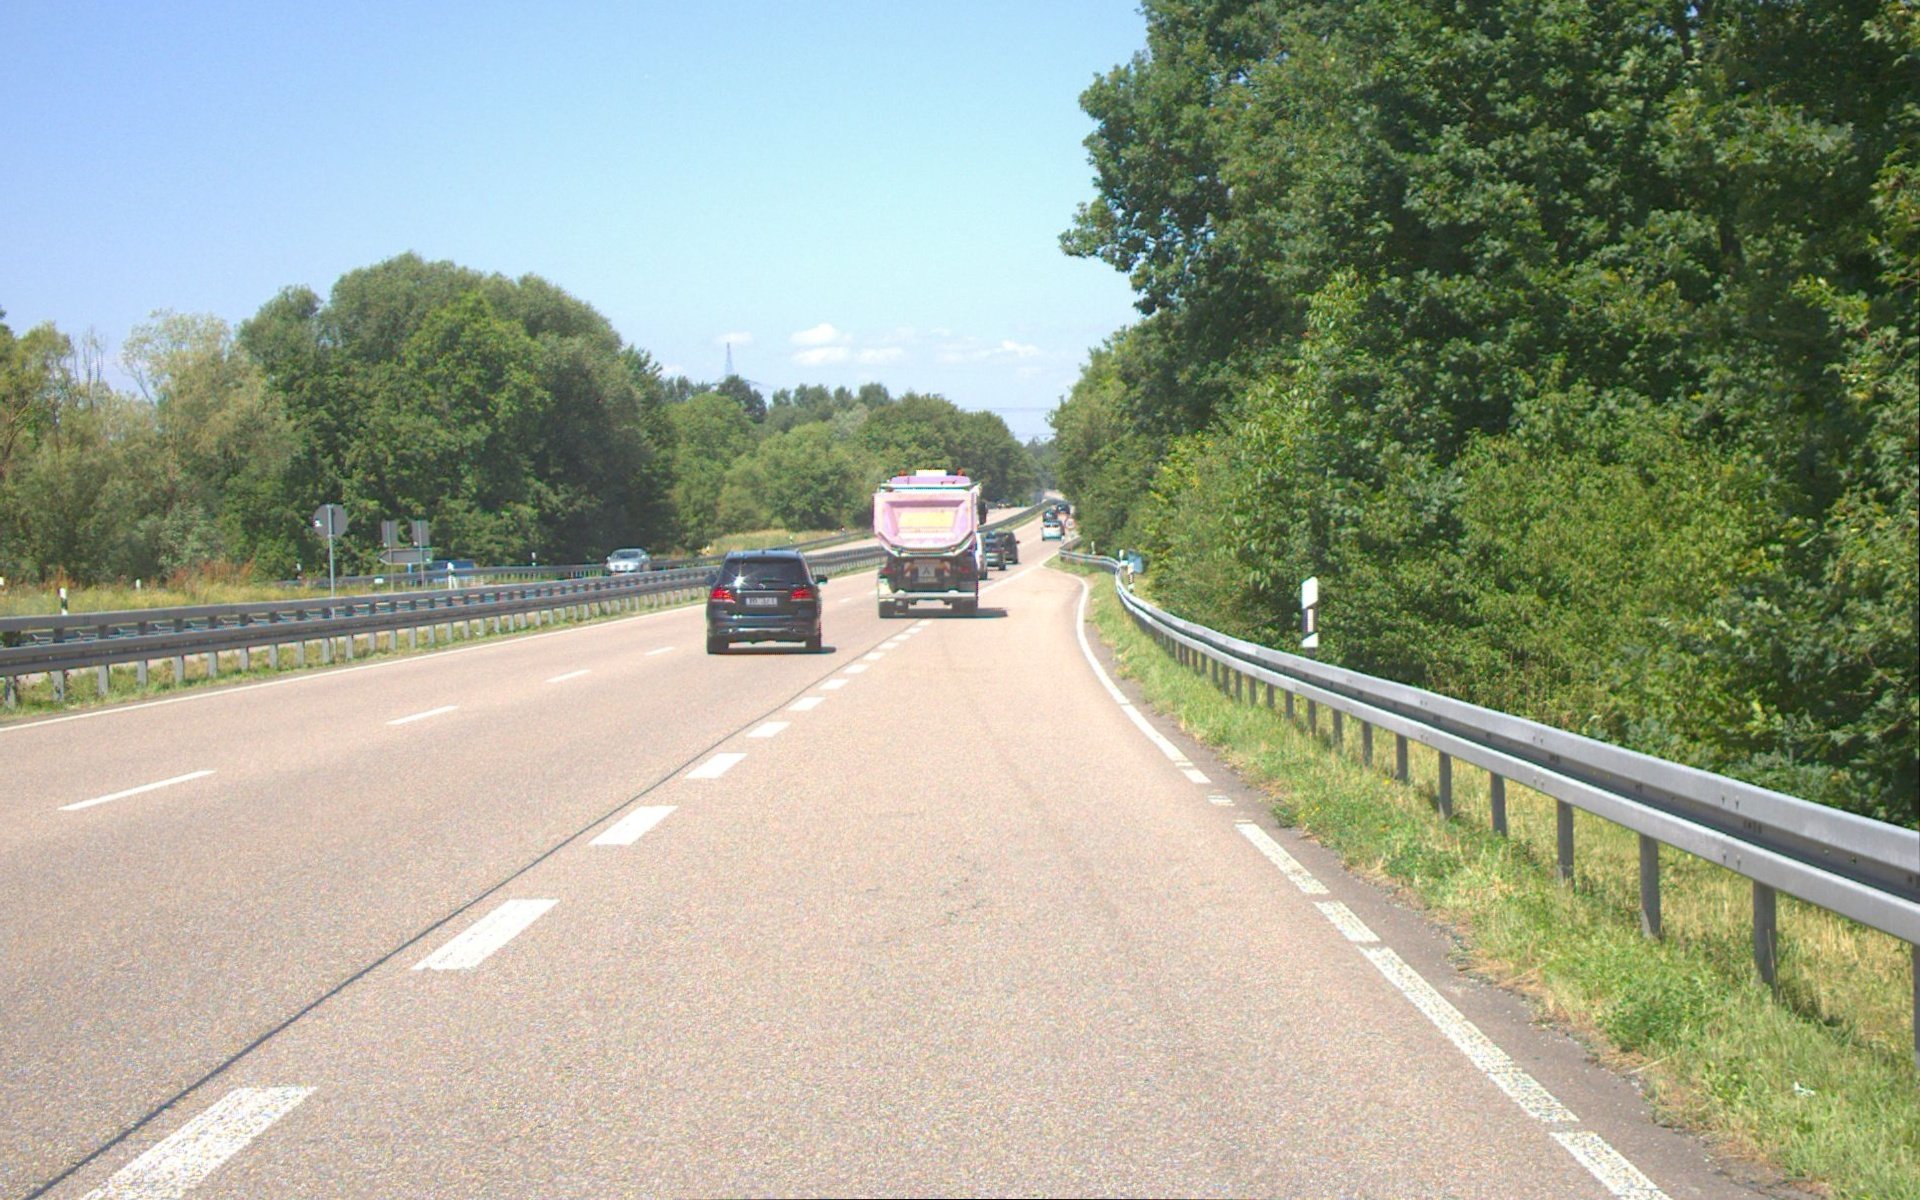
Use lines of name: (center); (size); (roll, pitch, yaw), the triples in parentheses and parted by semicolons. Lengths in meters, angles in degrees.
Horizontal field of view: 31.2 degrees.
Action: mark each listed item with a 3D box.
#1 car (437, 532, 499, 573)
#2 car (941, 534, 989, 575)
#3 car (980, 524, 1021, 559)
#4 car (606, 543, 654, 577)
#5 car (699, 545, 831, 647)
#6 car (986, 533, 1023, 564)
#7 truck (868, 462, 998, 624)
car: (-18.146, -1.738, 126.846); (1.918, 1.484, 4.000); (0, 0, -3)
car: (0.229, -1.925, 145.778); (1.857, 1.665, 4.000); (0, 0, 2)
car: (1.995, -2.865, 168.104); (1.857, 1.665, 4.000); (0, 0, 2)
car: (-16.268, -1.999, 169.473); (1.724, 1.639, 4.943); (0, 1, 2)
car: (-3.296, -0.080, 58.792); (1.857, 1.665, 4.000); (0, 0, 2)
car: (2.437, -2.782, 187.548); (1.857, 1.665, 4.000); (0, 0, 2)
truck: (-0.584, -1.608, 89.861); (2.720, 3.916, 12.370); (-1, 2, 2)
